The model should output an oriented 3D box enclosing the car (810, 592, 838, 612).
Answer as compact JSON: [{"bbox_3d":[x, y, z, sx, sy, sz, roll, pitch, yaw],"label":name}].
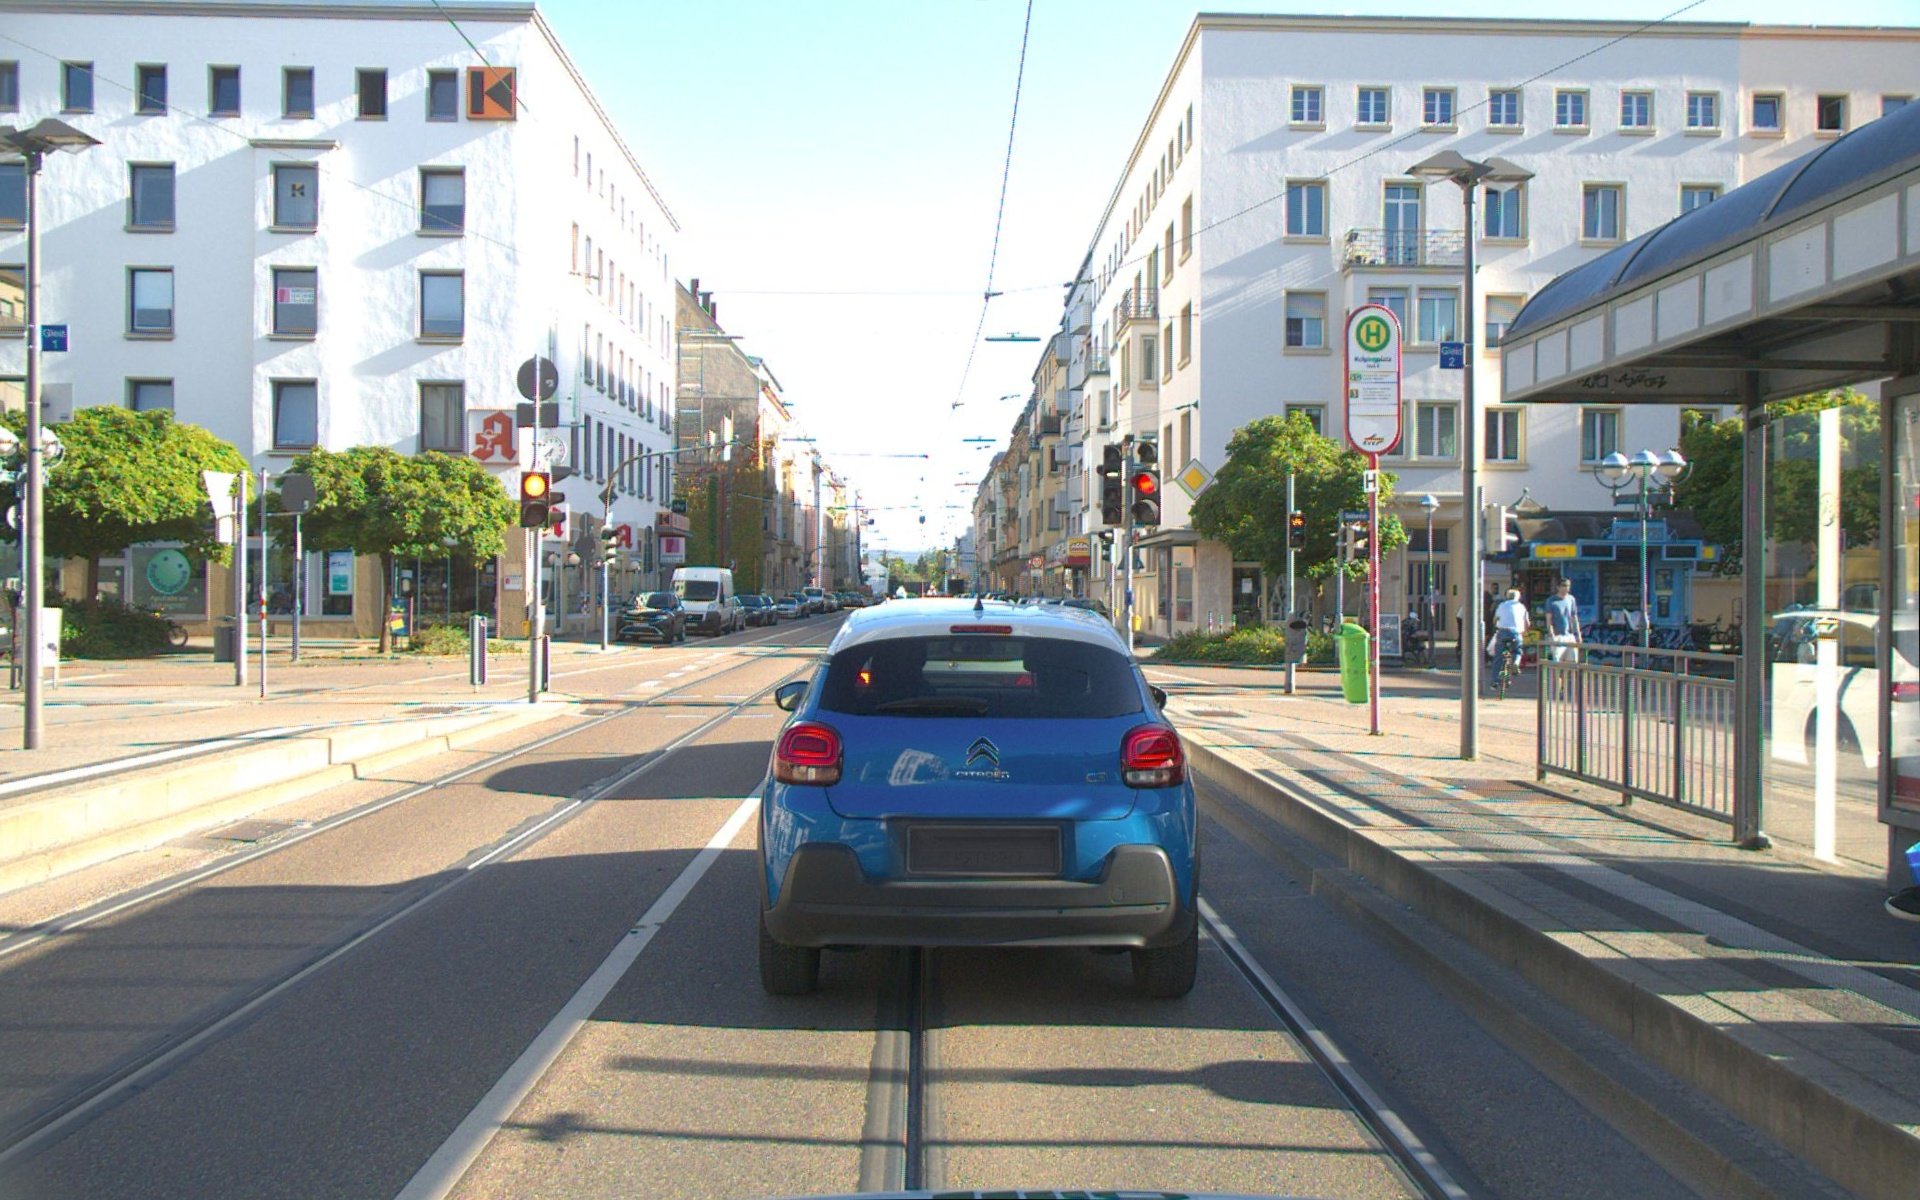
[{"bbox_3d":[-11.193,0.210,136.452,1.914,1.579,3.939,1,0,1],"label":"car"}]

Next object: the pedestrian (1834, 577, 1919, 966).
[{"bbox_3d":[3.583,0.573,5.341,0.978,1.246,0.923,3,-1,-1],"label":"pedestrian"}]

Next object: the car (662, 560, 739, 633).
[{"bbox_3d":[-9.733,-0.118,62.491,2.043,2.586,6.203,1,0,-2],"label":"car"}]

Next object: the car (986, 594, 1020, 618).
[{"bbox_3d":[2.633,0.361,102.071,1.953,1.489,4.504,0,0,0],"label":"car"}]

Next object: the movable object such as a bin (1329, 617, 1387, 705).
[{"bbox_3d":[3.729,0.566,15.506,0.439,0.800,0.489,0,0,2],"label":"movable object such as a bin"}]

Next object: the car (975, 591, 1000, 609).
[{"bbox_3d":[2.188,-0.006,133.288,1.953,1.489,4.000,0,0,0],"label":"car"}]

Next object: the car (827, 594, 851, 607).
[{"bbox_3d":[-11.197,0.073,153.838,1.953,1.176,4.000,0,0,0],"label":"car"}]

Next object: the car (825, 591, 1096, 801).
[{"bbox_3d":[-0.036,0.692,14.451,1.944,1.490,4.814,1,0,-1],"label":"car"}]

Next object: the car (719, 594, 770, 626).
[{"bbox_3d":[-10.102,0.484,77.932,1.953,1.422,4.155,1,0,-2],"label":"car"}]

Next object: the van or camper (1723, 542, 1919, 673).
[{"bbox_3d":[20.977,0.139,36.734,6.976,2.795,2.371,0,1,0],"label":"van or camper"}]

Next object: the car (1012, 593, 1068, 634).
[{"bbox_3d":[3.012,0.500,62.963,1.953,1.527,4.000,0,0,0],"label":"car"}]

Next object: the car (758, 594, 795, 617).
[{"bbox_3d":[-11.432,0.332,103.051,1.953,1.348,3.921,1,0,-2],"label":"car"}]

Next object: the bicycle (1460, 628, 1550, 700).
[{"bbox_3d":[8.757,1.001,26.504,0.706,1.080,2.314,2,0,35],"label":"bicycle"}]

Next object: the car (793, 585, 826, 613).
[{"bbox_3d":[-11.484,-0.058,126.620,1.965,2.049,4.690,1,0,1],"label":"car"}]

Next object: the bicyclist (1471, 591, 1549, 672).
[{"bbox_3d":[8.835,0.504,26.553,0.935,1.247,0.930,2,0,36],"label":"bicyclist"}]

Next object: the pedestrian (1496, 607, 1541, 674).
[{"bbox_3d":[12.482,0.895,36.983,0.715,1.434,0.755,0,3,-1],"label":"pedestrian"}]

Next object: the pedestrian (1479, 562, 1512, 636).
[{"bbox_3d":[13.587,-0.020,42.007,0.639,1.871,0.659,0,0,2],"label":"pedestrian"}]

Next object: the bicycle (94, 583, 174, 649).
[{"bbox_3d":[-21.338,0.401,42.784,0.605,1.635,2.621,0,0,3],"label":"bicycle"}]

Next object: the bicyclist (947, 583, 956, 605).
[{"bbox_3d":[-0.780,-0.530,157.121,0.793,2.049,0.922,1,-1,-1],"label":"bicyclist"}]

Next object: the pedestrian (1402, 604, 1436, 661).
[{"bbox_3d":[10.880,0.767,39.205,0.725,1.339,0.628,0,0,22],"label":"pedestrian"}]

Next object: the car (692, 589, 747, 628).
[{"bbox_3d":[-10.045,0.357,69.303,1.850,1.522,3.560,1,0,-2],"label":"car"}]

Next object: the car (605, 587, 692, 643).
[{"bbox_3d":[-9.793,0.467,52.253,1.953,1.596,4.401,3,0,-2],"label":"car"}]

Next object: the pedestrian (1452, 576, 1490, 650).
[{"bbox_3d":[13.158,0.332,42.604,0.768,1.871,0.678,0,0,2],"label":"pedestrian"}]

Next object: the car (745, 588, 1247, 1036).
[{"bbox_3d":[0.095,0.723,7.578,1.693,1.508,3.826,1,0,-1],"label":"car"}]

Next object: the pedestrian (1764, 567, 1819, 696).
[{"bbox_3d":[11.601,0.436,23.087,0.546,1.775,0.527,1,-1,10],"label":"pedestrian"}]

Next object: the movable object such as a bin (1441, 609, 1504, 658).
[{"bbox_3d":[12.515,0.811,40.421,1.174,1.173,1.217,0,0,0],"label":"movable object such as a bin"}]

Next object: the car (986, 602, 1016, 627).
[{"bbox_3d":[2.668,0.936,109.096,1.952,1.579,4.000,0,0,1],"label":"car"}]

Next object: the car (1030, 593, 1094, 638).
[{"bbox_3d":[3.474,0.518,57.203,1.953,1.489,4.000,0,0,0],"label":"car"}]

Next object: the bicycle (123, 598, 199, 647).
[{"bbox_3d":[-20.629,0.561,42.771,0.605,1.211,2.621,0,0,2],"label":"bicycle"}]

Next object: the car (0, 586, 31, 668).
[{"bbox_3d":[-22.392,0.569,35.424,3.906,1.736,1.825,0,0,-1],"label":"car"}]

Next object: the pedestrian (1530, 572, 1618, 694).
[{"bbox_3d":[9.795,0.525,26.428,0.961,1.910,1.128,0,-1,-3],"label":"pedestrian"}]

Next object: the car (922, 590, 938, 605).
[{"bbox_3d":[-3.545,-0.317,197.036,1.953,1.803,3.999,0,0,-1],"label":"car"}]

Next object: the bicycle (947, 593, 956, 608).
[{"bbox_3d":[-0.815,0.063,157.256,0.901,1.413,3.131,0,0,-1],"label":"bicycle"}]

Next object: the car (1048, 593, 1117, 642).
[{"bbox_3d":[3.842,0.525,52.442,1.870,1.489,4.000,0,0,0],"label":"car"}]

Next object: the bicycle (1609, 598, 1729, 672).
[{"bbox_3d":[15.886,0.768,37.081,2.336,1.558,0.726,2,0,-2],"label":"bicycle"}]

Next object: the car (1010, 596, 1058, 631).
[{"bbox_3d":[3.237,0.592,73.000,1.953,1.489,4.000,0,0,0],"label":"car"}]
